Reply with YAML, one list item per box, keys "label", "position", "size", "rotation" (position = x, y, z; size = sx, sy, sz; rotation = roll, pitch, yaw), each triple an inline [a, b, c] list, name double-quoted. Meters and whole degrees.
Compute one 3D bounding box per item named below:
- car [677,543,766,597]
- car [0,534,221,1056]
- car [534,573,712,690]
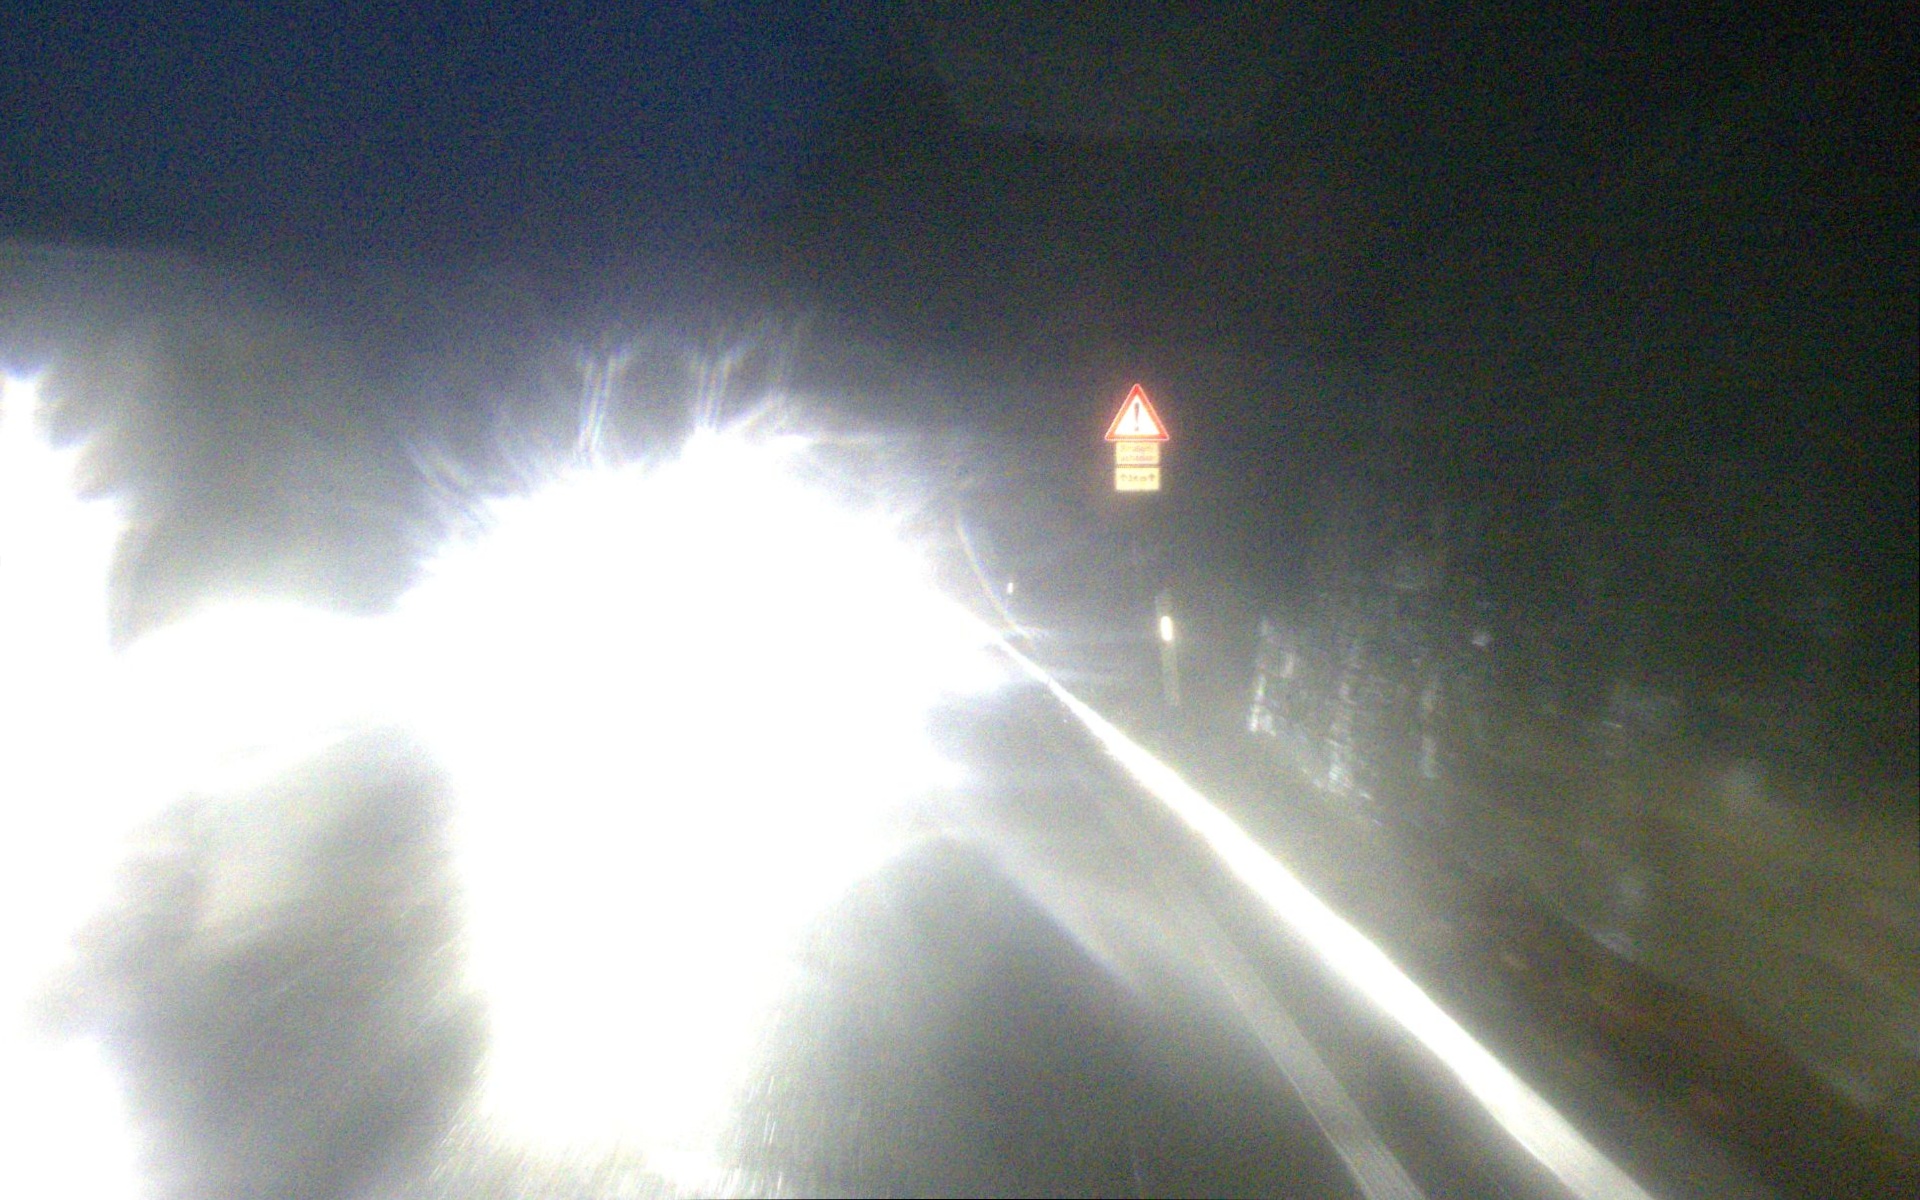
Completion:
- label: "car"
  position: [-6.636, -0.815, 95.989]
  size: [1.976, 1.457, 4.281]
  rotation: [0, 0, 3]
- label: "car"
  position: [-3.768, 0.560, 11.765]
  size: [1.716, 1.548, 4.000]
  rotation: [-1, 1, -2]
- label: "car"
  position: [-4.492, 0.419, 46.442]
  size: [1.993, 1.492, 4.356]
  rotation: [0, 0, 0]
